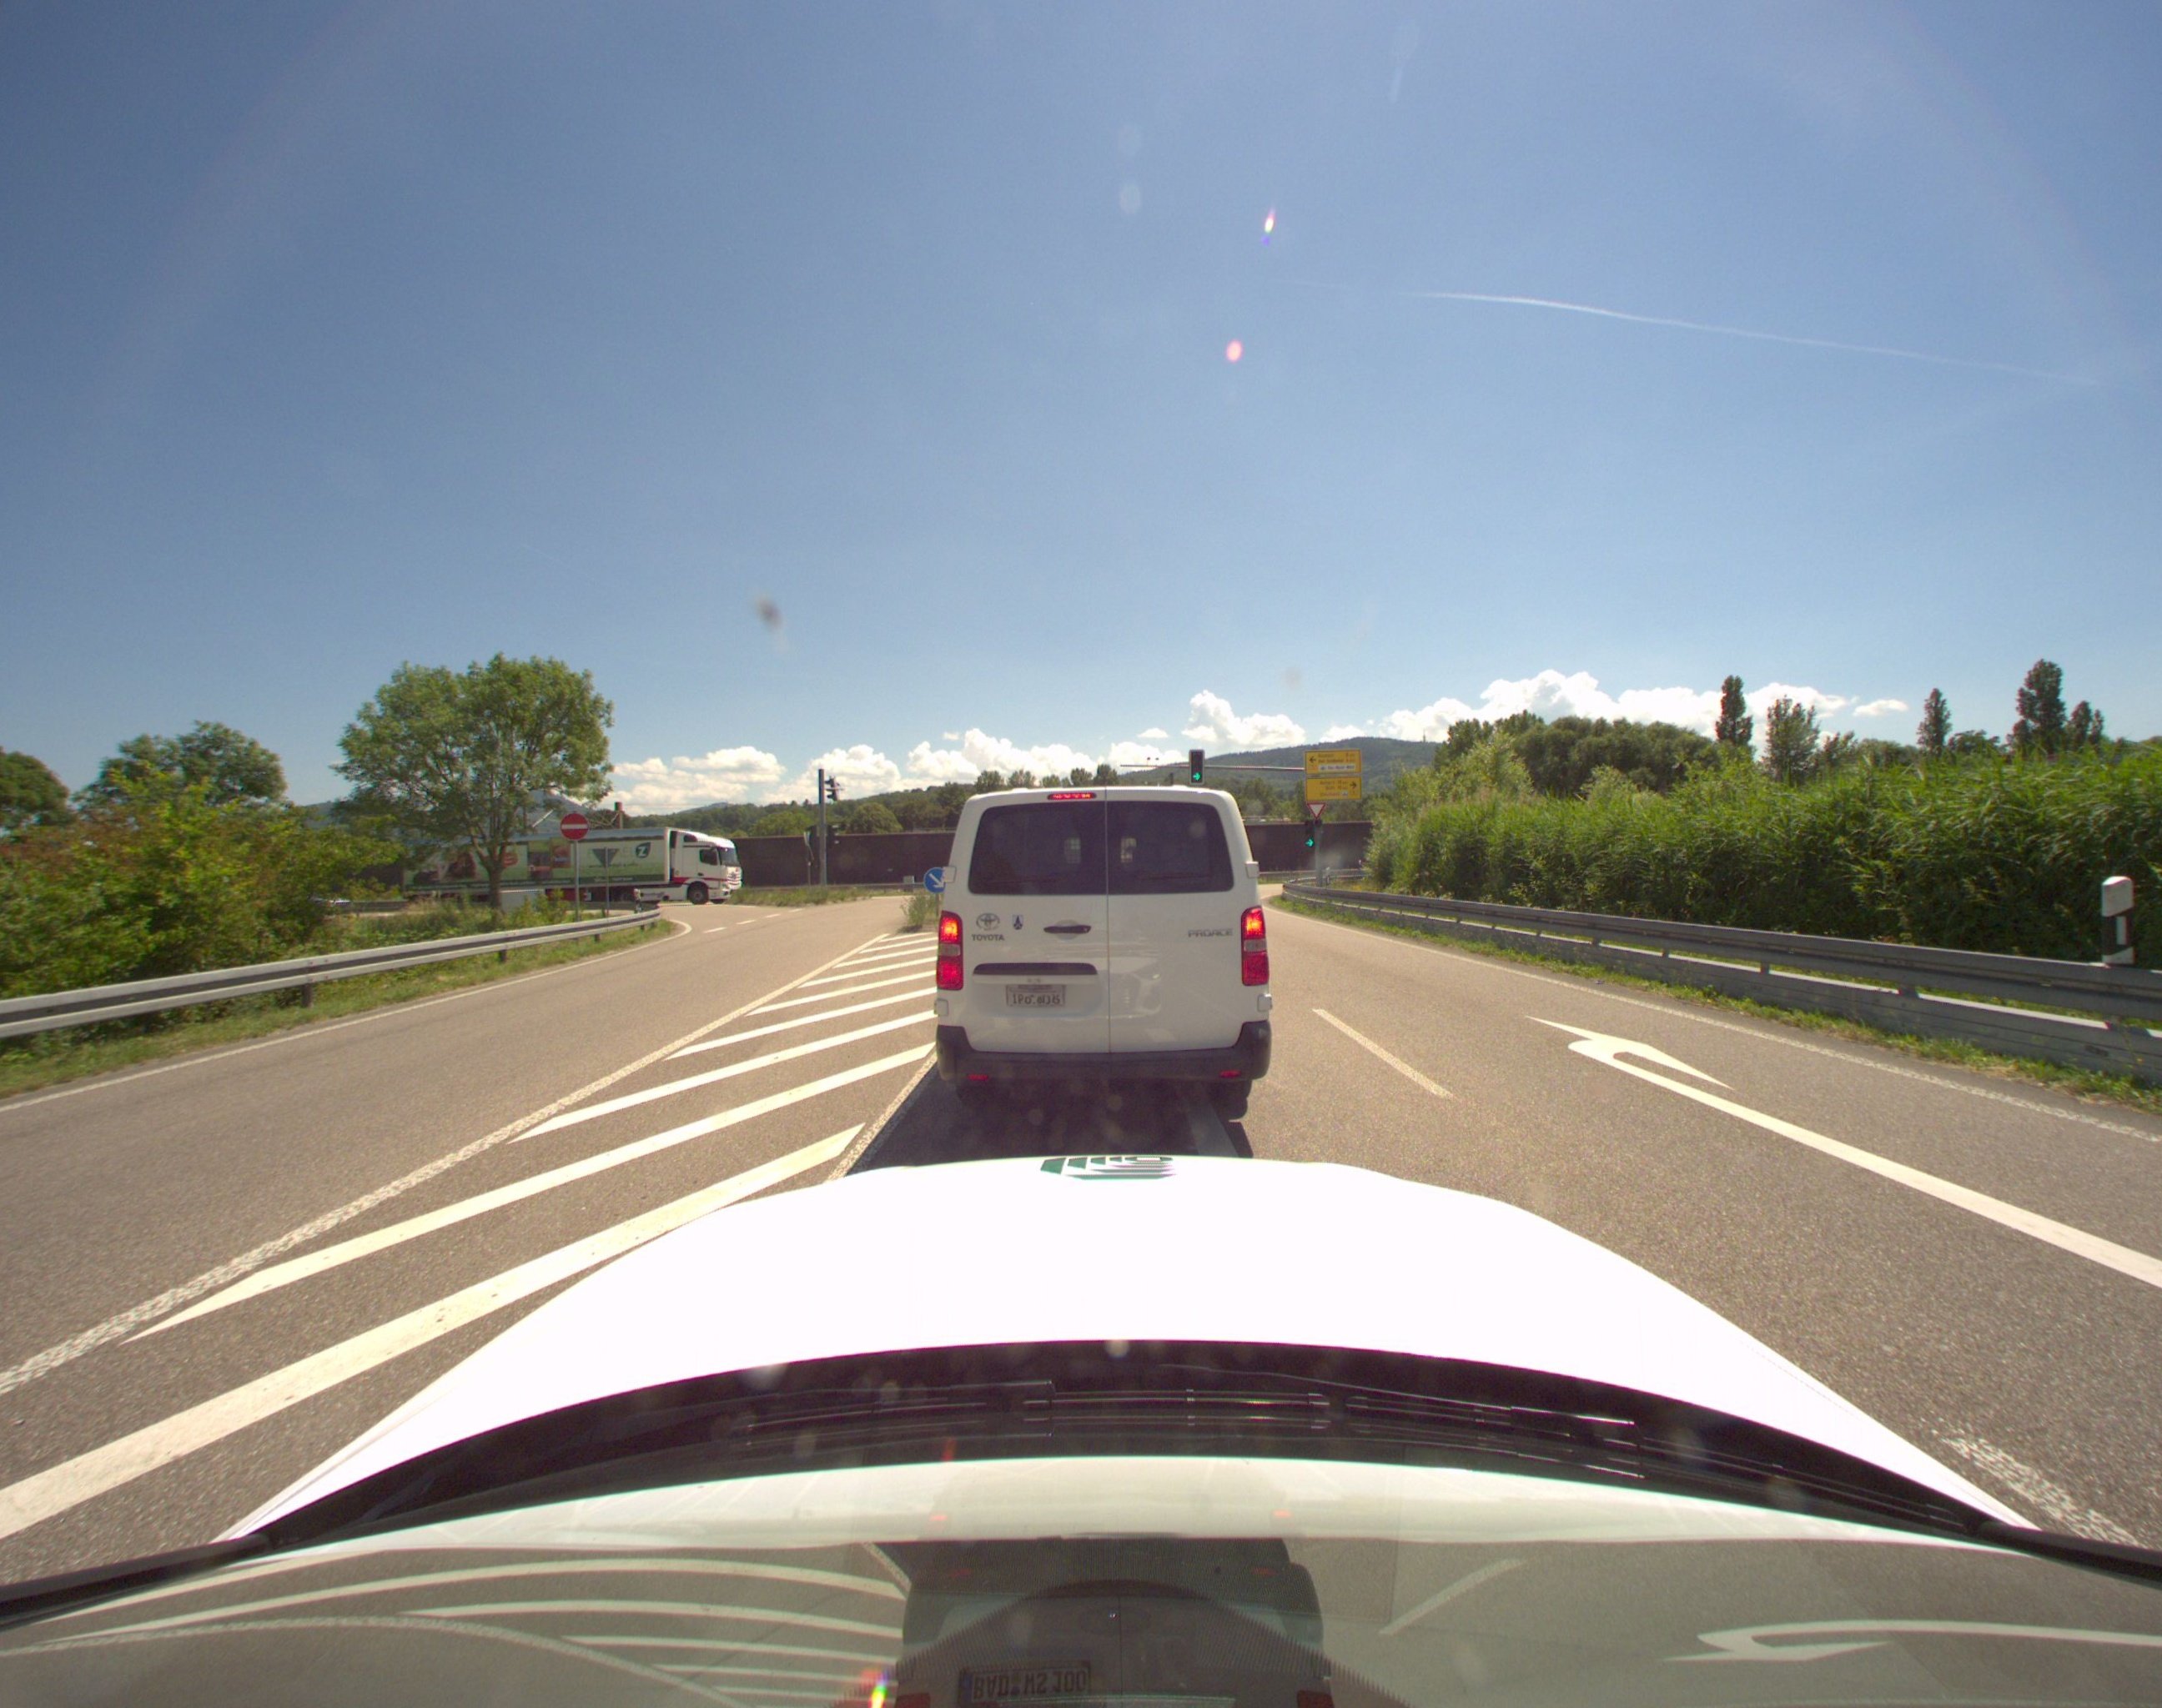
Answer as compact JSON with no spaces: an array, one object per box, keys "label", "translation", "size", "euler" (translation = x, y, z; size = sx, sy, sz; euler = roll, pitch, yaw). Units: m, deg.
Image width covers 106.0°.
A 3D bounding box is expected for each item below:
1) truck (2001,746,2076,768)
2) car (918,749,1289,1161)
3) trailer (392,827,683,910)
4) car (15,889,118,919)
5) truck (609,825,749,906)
[{"label":"truck","translation":[132.469,-13.401,112.825],"size":[2.335,2.014,6.923],"euler":[-1,-1,2]},{"label":"car","translation":[0.171,0.519,6.052],"size":[1.808,2.017,4.001],"euler":[-1,-1,2]},{"label":"trailer","translation":[-28.225,0.734,42.733],"size":[13.098,3.954,3.061],"euler":[-1,-1,0]},{"label":"car","translation":[-53.906,2.639,43.306],"size":[3.462,1.464,1.554],"euler":[-1,-1,0]},{"label":"truck","translation":[-20.967,0.597,42.789],"size":[5.746,3.954,3.062],"euler":[-1,-1,0]}]
